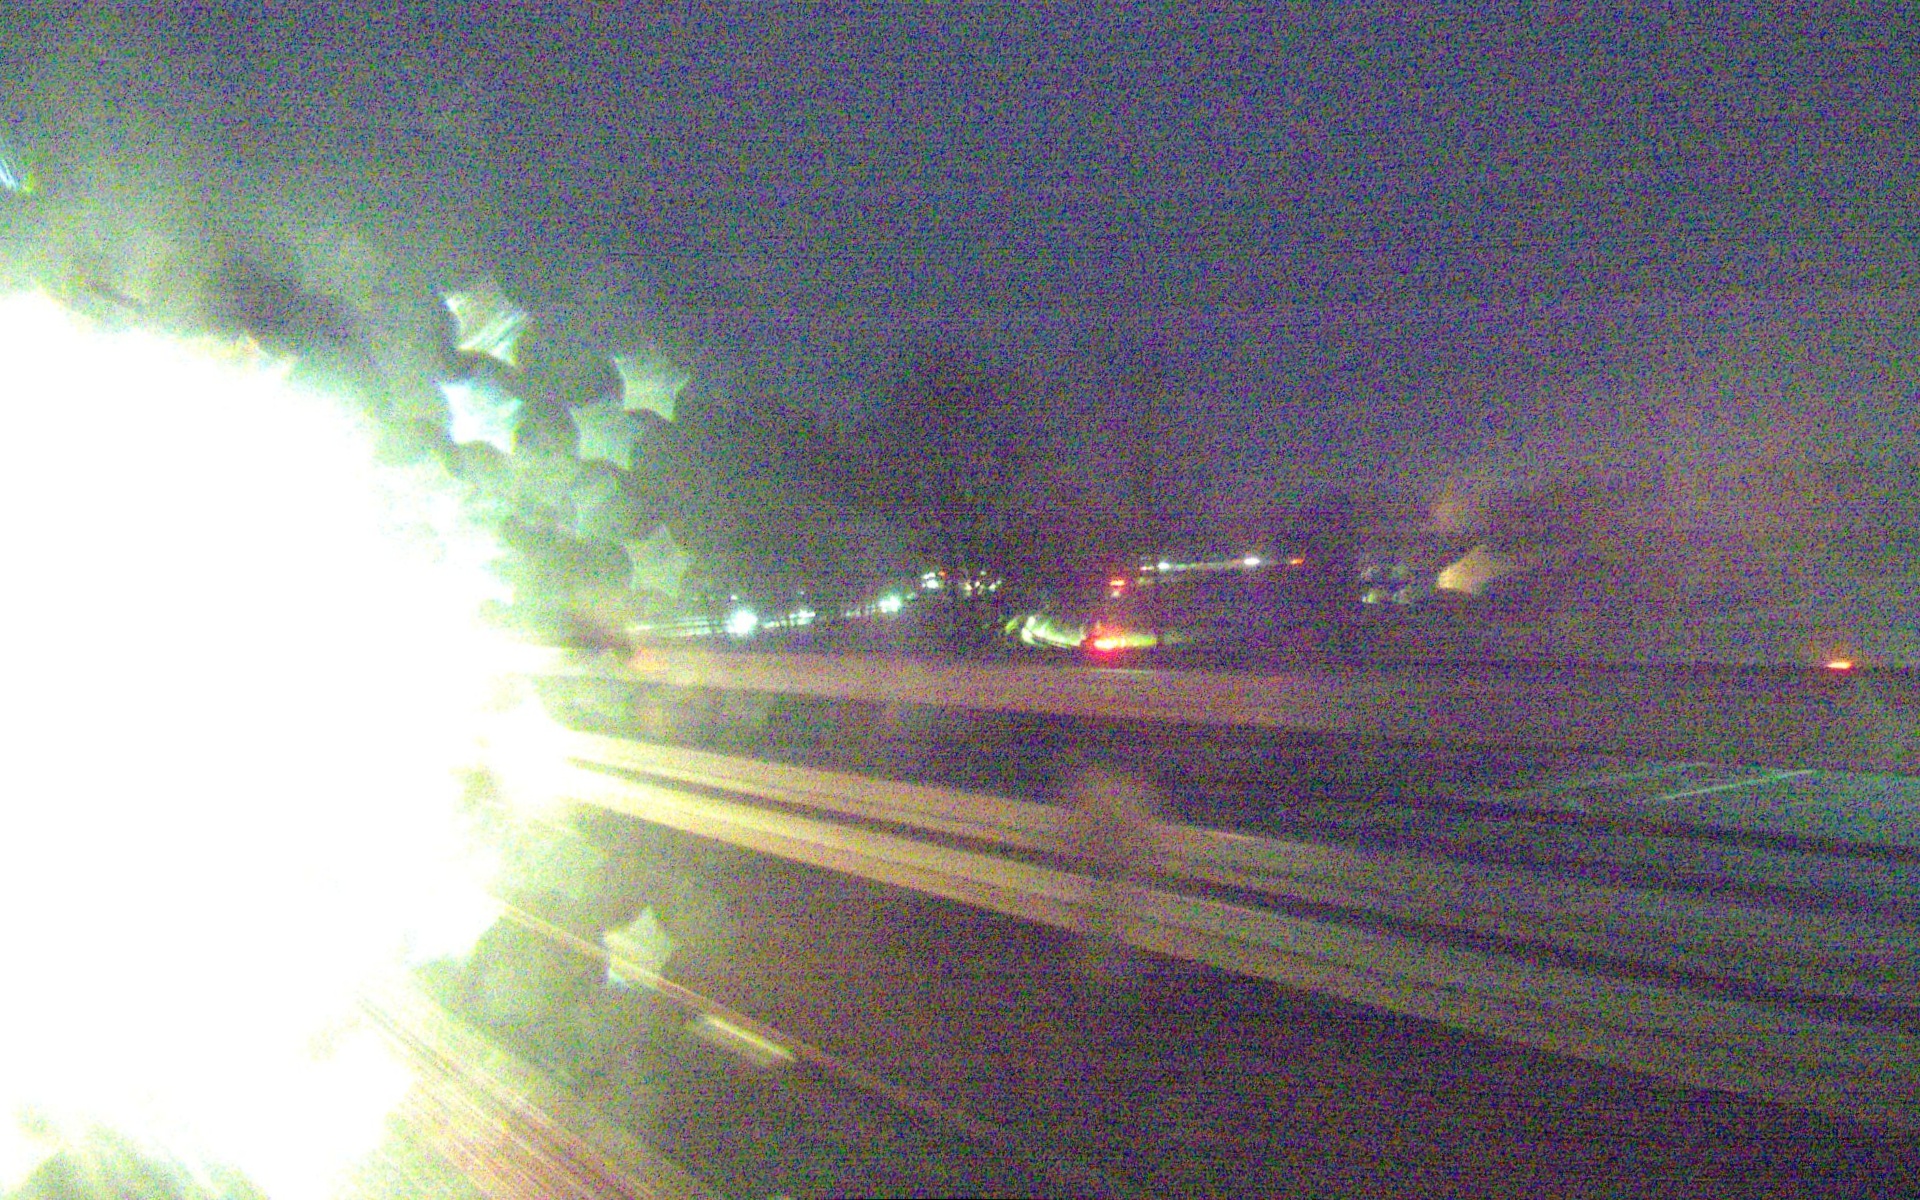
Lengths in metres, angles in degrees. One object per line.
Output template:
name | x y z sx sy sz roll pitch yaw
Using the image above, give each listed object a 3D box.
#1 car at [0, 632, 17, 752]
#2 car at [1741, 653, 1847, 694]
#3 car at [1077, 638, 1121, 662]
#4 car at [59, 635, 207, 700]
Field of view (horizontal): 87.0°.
car | -11.940 1.088 11.312 1.660 1.462 3.650 1 -2 -37
car | 41.561 3.628 50.543 3.812 1.777 1.707 1 -2 30
car | 11.983 4.311 87.583 1.890 1.765 4.259 1 1 -21
car | -18.911 1.492 23.351 1.731 1.322 4.098 0 -2 -26
